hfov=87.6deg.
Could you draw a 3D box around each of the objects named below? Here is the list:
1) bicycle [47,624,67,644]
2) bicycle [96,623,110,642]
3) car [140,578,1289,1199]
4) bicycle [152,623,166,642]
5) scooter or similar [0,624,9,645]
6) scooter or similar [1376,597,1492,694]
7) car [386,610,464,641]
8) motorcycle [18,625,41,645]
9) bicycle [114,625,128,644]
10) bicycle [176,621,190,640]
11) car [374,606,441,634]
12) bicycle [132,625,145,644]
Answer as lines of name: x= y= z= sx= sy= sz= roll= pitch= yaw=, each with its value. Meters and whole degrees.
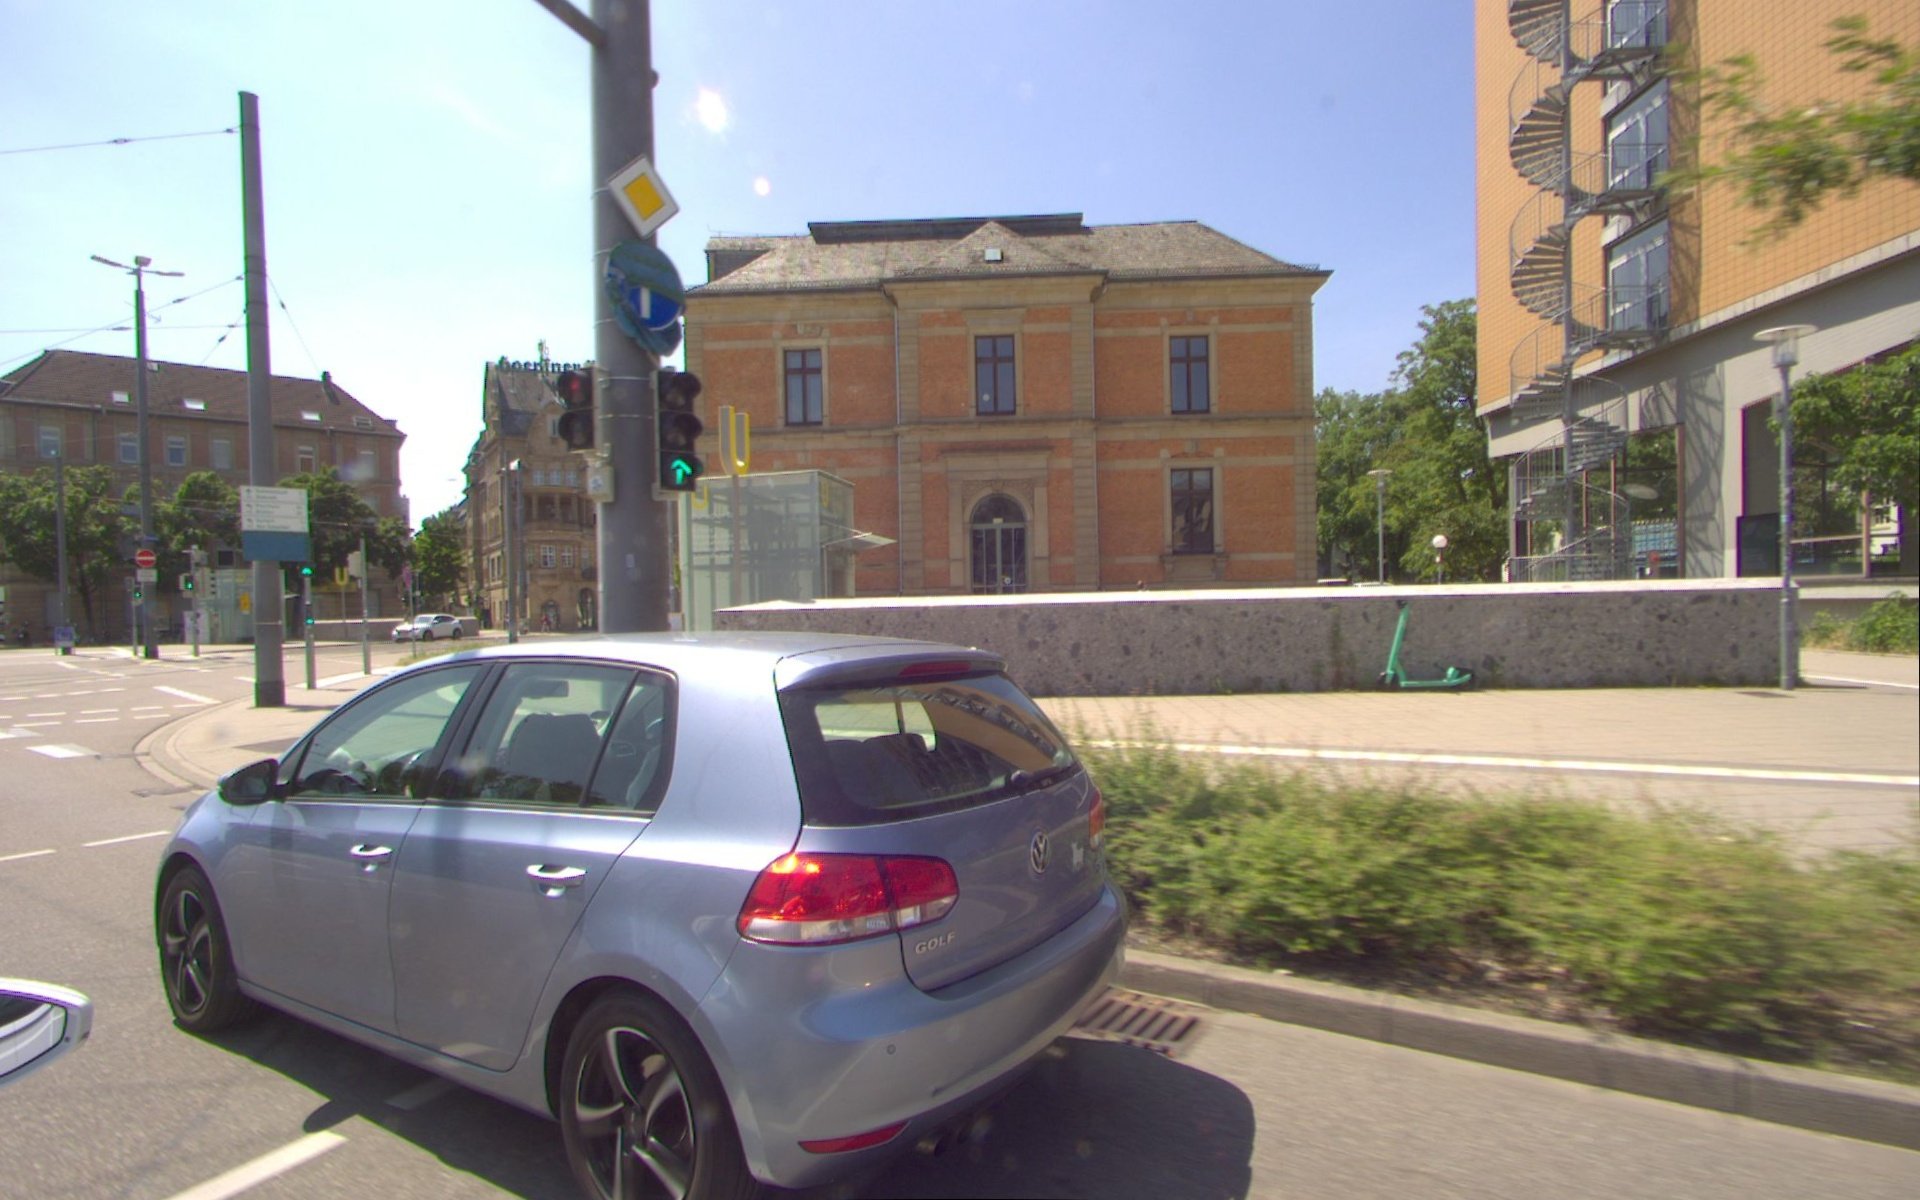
bicycle: x=-52.279 y=1.950 z=57.961 sx=1.798 sy=1.134 sz=0.549 roll=-1 pitch=0 yaw=39
bicycle: x=-51.013 y=1.935 z=59.597 sx=0.547 sy=1.134 sz=1.804 roll=-1 pitch=0 yaw=-42
car: x=-1.075 y=0.761 z=3.488 sx=3.947 sy=1.478 sz=1.648 roll=-1 pitch=-2 yaw=33
bicycle: x=-49.598 y=2.022 z=61.997 sx=0.547 sy=1.134 sz=1.854 roll=-1 pitch=0 yaw=-42
scooter or similar: x=-56.010 y=2.003 z=57.644 sx=0.588 sy=1.197 sz=1.791 roll=-1 pitch=0 yaw=9
scooter or similar: x=5.953 y=0.574 z=12.613 sx=1.227 sy=1.186 sz=0.458 roll=-1 pitch=0 yaw=12
car: x=-29.632 y=1.391 z=55.637 sx=1.662 sy=1.626 sz=4.192 roll=-1 pitch=0 yaw=8
motorcycle: x=-52.892 y=1.978 z=56.930 sx=1.920 sy=1.089 sz=0.578 roll=-1 pitch=0 yaw=36
bicycle: x=-50.387 y=2.051 z=60.144 sx=0.547 sy=1.134 sz=1.804 roll=-1 pitch=0 yaw=-42
bicycle: x=-48.930 y=1.914 z=63.030 sx=0.547 sy=1.134 sz=1.912 roll=-1 pitch=0 yaw=-42
car: x=-33.122 y=1.169 z=60.113 sx=1.662 sy=1.626 sz=3.651 roll=-1 pitch=0 yaw=8
bicycle: x=-49.908 y=2.071 z=60.833 sx=0.547 sy=1.134 sz=1.872 roll=-1 pitch=0 yaw=-42
